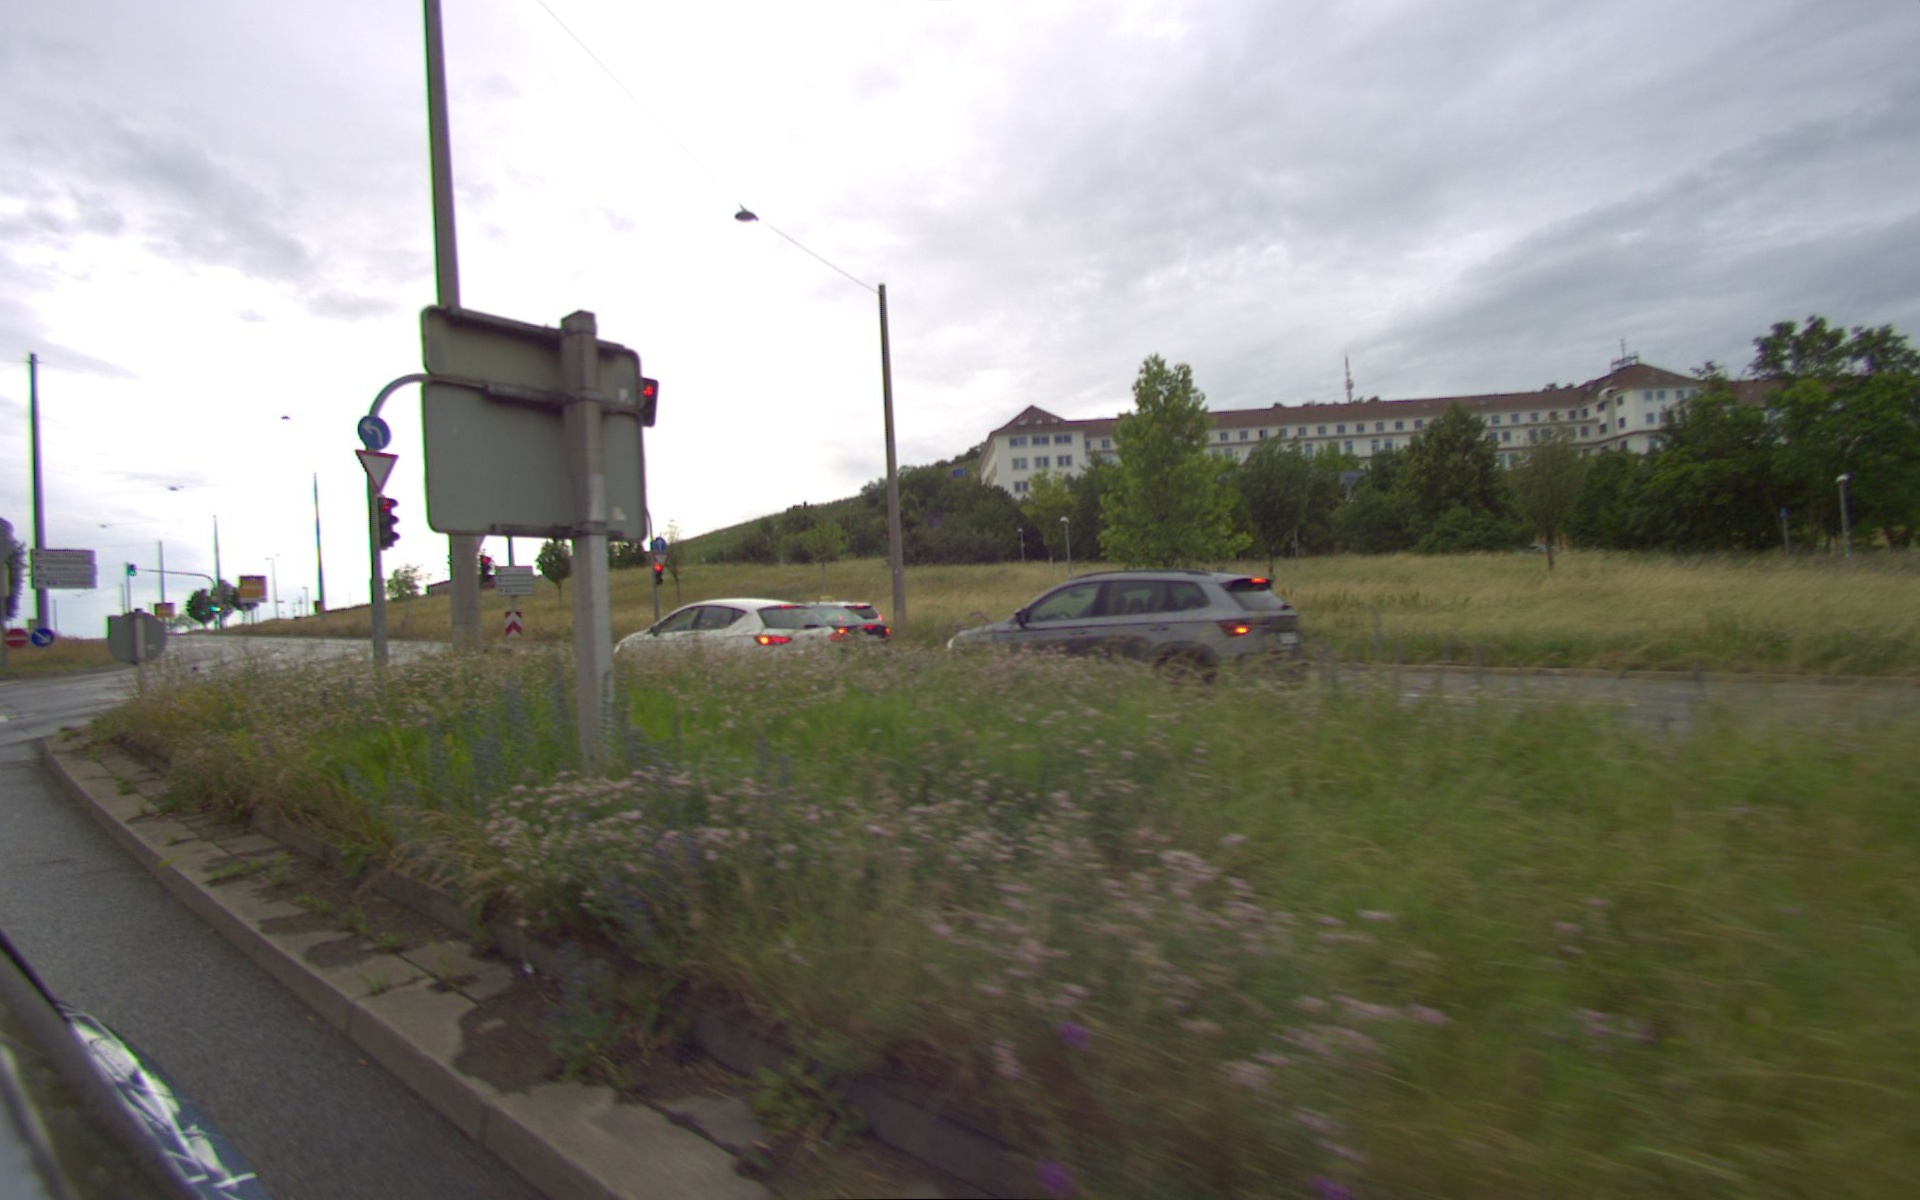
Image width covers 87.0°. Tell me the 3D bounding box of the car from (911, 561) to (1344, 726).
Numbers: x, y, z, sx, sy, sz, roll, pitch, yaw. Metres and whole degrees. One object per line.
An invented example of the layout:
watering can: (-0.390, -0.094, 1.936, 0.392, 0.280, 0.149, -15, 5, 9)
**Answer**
car: (1.778, 0.450, 11.504, 4.431, 1.524, 1.975, -2, 0, 38)

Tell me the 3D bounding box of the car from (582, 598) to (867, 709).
car: (-3.729, 0.789, 15.660, 4.431, 1.433, 1.942, -2, 0, 38)

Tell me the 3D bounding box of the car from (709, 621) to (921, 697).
car: (-2.859, 1.102, 19.531, 4.013, 1.316, 1.785, -2, -2, 38)

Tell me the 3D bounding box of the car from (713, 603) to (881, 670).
car: (-4.634, 1.016, 28.322, 4.795, 1.656, 1.973, -2, 0, 41)
